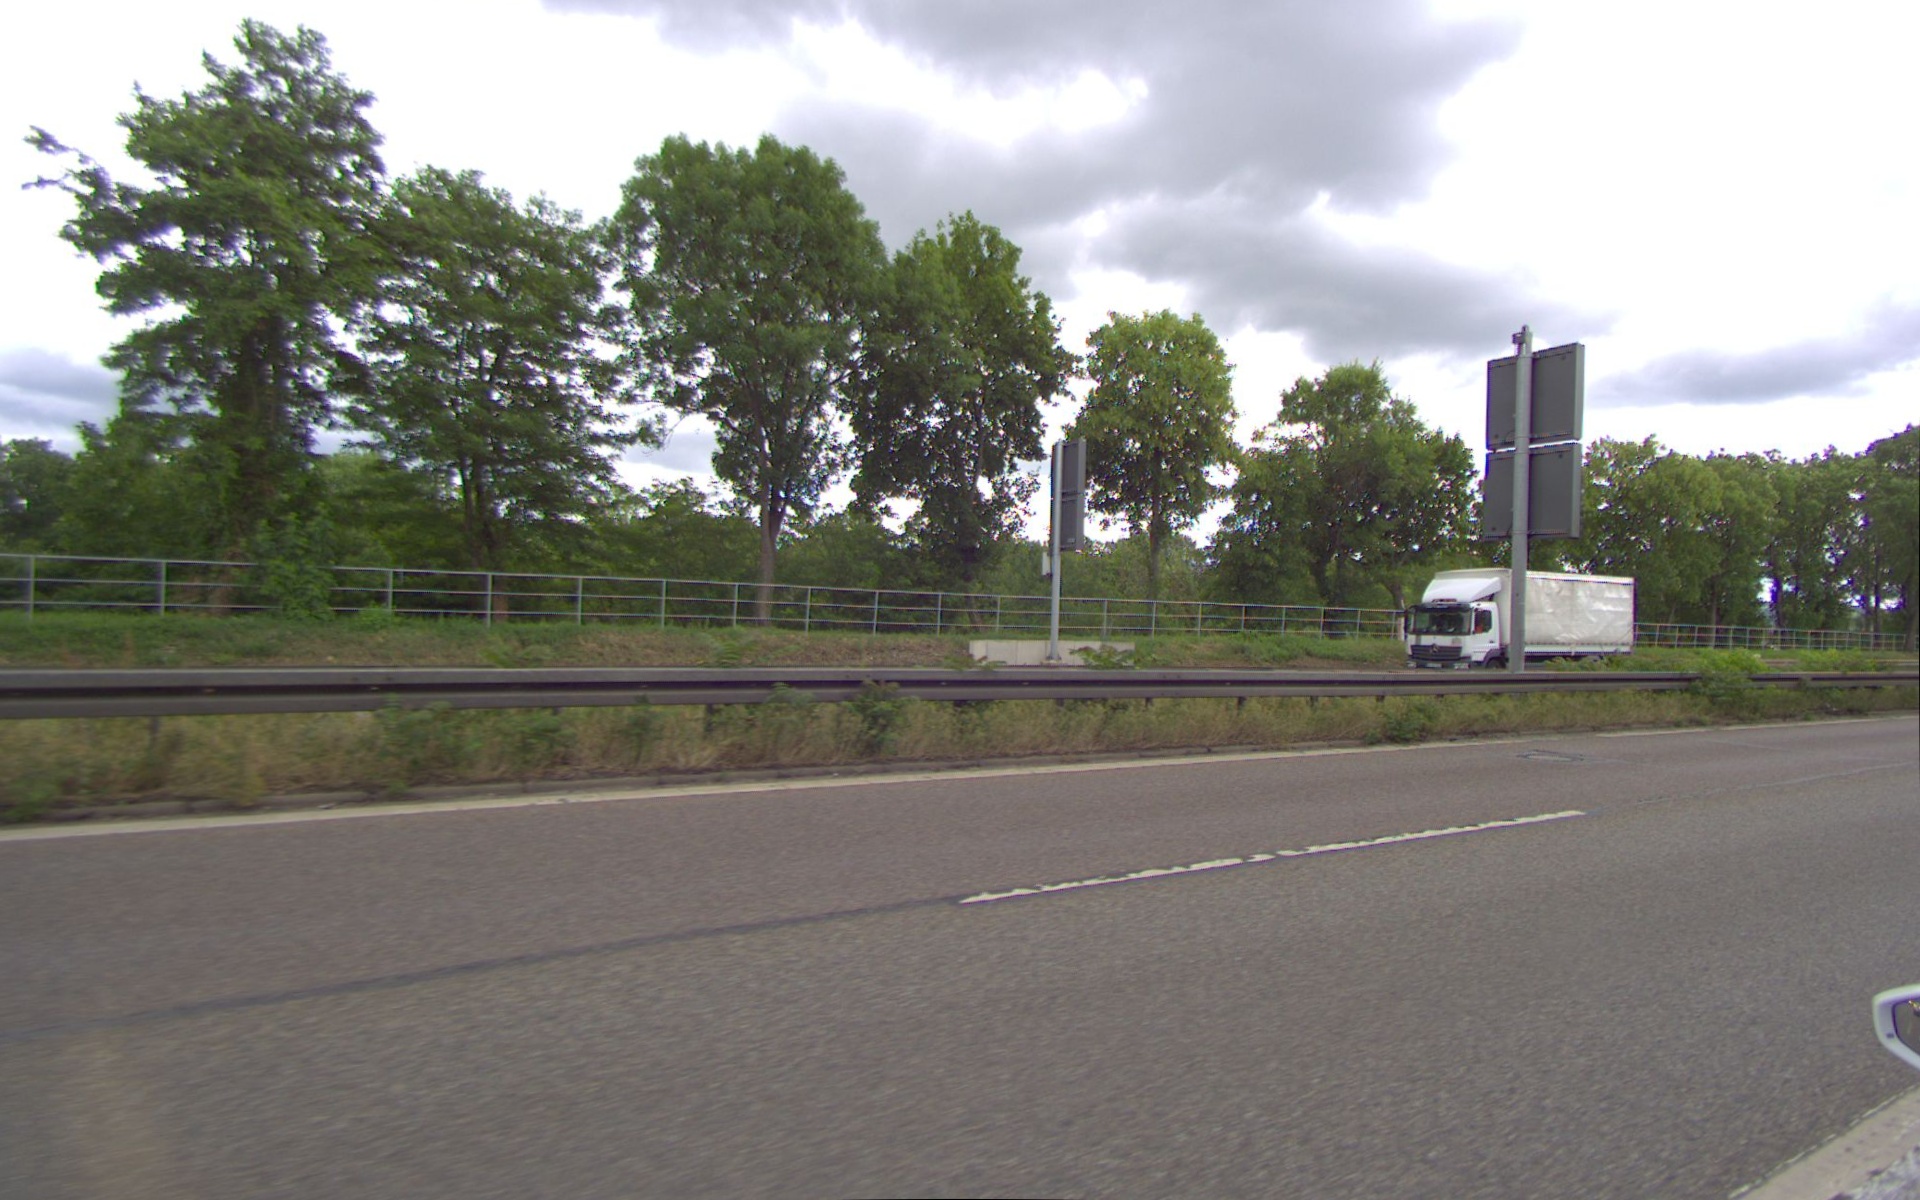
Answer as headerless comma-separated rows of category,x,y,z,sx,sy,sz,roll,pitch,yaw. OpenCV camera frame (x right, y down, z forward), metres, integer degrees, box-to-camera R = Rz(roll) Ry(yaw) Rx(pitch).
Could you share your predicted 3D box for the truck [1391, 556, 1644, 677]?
truck,18.746,0.645,33.508,9.472,3.626,2.876,2,-1,-30
